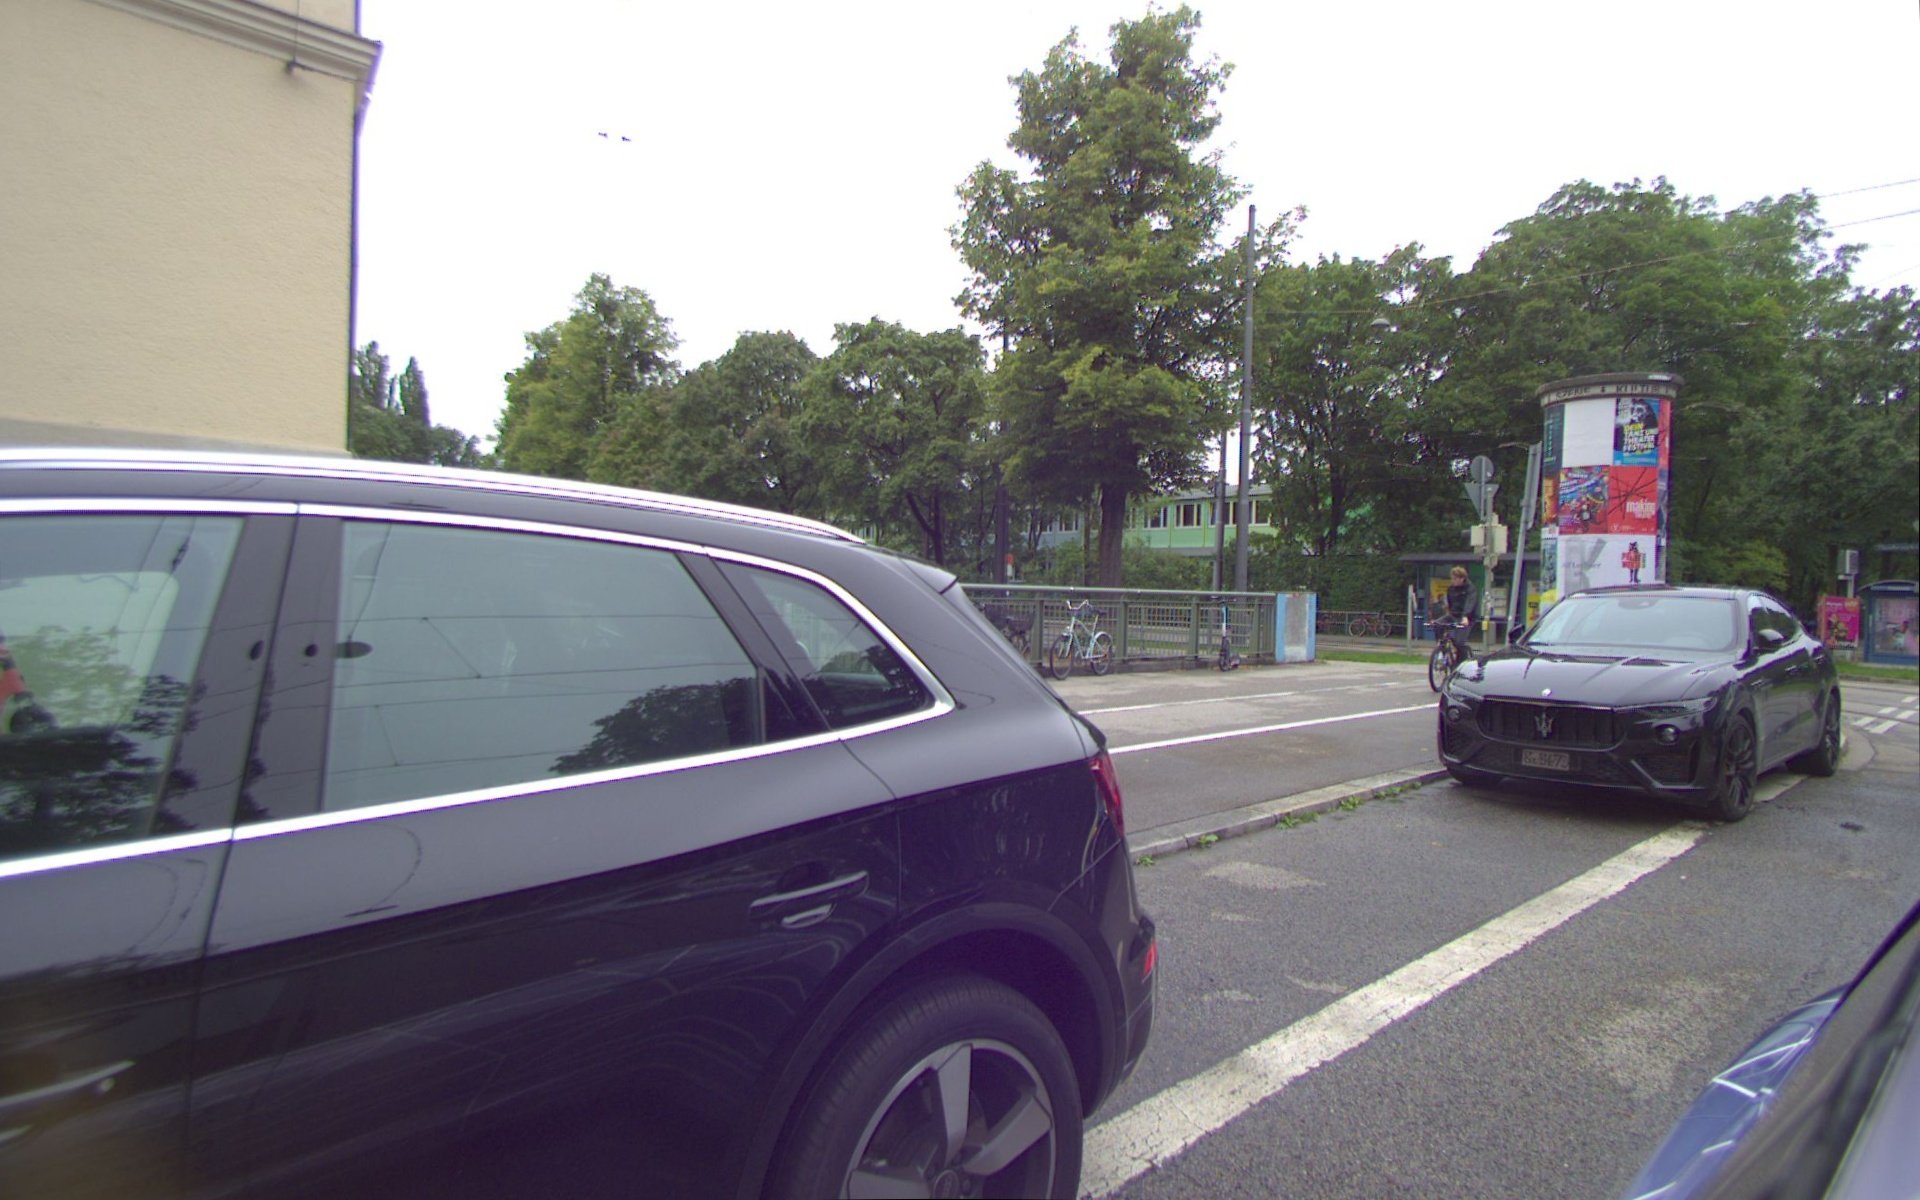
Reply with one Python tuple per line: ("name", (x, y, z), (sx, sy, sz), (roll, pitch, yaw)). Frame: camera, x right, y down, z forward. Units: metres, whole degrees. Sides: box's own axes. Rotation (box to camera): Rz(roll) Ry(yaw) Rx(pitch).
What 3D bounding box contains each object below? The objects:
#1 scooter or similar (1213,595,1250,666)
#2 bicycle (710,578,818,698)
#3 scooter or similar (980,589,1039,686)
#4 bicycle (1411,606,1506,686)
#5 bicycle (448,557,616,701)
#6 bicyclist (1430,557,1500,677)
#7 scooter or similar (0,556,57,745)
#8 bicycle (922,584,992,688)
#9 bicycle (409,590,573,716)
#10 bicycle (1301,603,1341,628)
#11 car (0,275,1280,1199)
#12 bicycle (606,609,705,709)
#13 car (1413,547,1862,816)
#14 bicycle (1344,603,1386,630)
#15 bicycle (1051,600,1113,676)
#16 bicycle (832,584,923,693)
("scooter or similar", (4.770, 0.522, 17.740), (0.224, 1.227, 1.006), (-1, -1, 40))
("bicycle", (-2.229, 0.412, 11.630), (0.281, 1.298, 1.391), (-1, -1, 38))
("scooter or similar", (0.706, 0.497, 14.008), (0.242, 1.279, 1.482), (0, -1, 27))
("bicycle", (7.500, 0.659, 15.193), (1.879, 1.091, 0.580), (0, 3, -42))
("bicycle", (-4.195, 0.265, 10.001), (1.511, 1.329, 0.332), (0, -1, -42))
("bicyclist", (7.643, 0.251, 15.327), (0.714, 1.751, 0.725), (0, -1, -41))
("scooter or similar", (-7.078, 0.357, 7.075), (1.122, 1.329, 0.261), (0, -1, -41))
("bicycle", (-0.023, 0.452, 13.360), (0.280, 1.298, 1.395), (-1, -1, 29))
("bicycle", (-4.443, 0.473, 9.671), (0.286, 1.120, 1.421), (1, 0, 42))
("bicycle", (14.248, 0.605, 39.968), (0.366, 0.964, 1.483), (0, 1, -38))
("car", (-1.461, 0.514, 1.725), (4.408, 1.679, 1.778), (0, 0, -40))
("bicycle", (-3.189, 0.596, 10.669), (0.247, 0.946, 1.133), (4, 3, 28))
("car", (5.752, 0.524, 8.346), (4.582, 1.630, 1.904), (1, -1, -40))
("bicycle", (15.303, 0.628, 38.226), (0.366, 0.964, 1.483), (0, 1, -38))
("bicycle", (1.849, 0.551, 15.241), (0.263, 1.096, 1.523), (-1, -1, 34))
("bicycle", (-1.018, 0.457, 12.687), (0.281, 1.298, 1.391), (-1, -1, 38))
